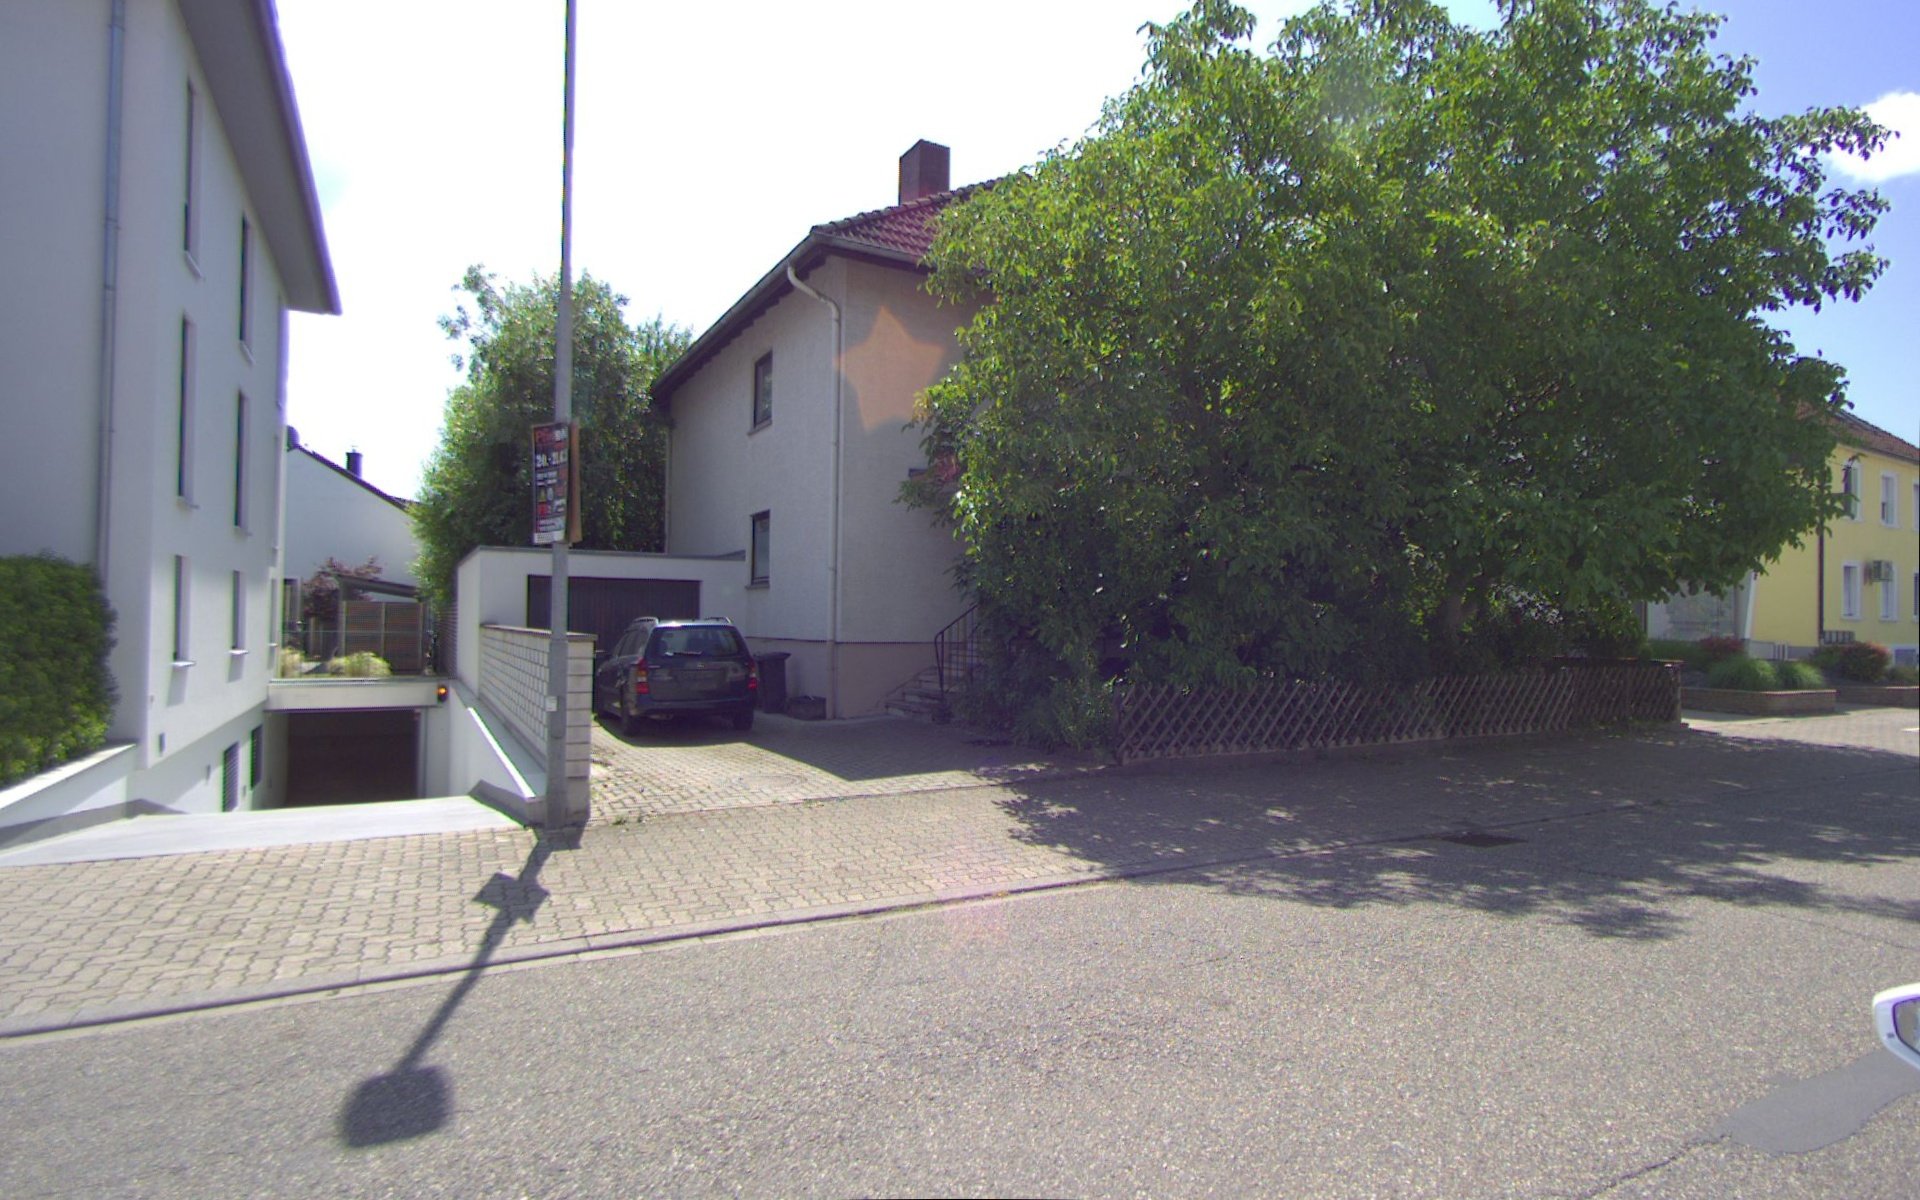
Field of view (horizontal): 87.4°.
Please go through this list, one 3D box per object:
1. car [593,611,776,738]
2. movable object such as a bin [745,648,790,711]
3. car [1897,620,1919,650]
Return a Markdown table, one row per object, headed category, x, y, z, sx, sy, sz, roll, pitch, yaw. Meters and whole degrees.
| category | x | y | z | sx | sy | sz | roll | pitch | yaw |
| --- | --- | --- | --- | --- | --- | --- | --- | --- | --- |
| car | -3.989 | 0.920 | 14.106 | 1.770 | 1.512 | 3.899 | 0 | -1 | -27 |
| movable object such as a bin | -3.022 | 1.236 | 15.753 | 0.522 | 0.912 | 0.624 | 2 | 1 | -28 |
| car | 52.608 | 2.023 | 53.155 | 4.171 | 1.508 | 1.748 | 4 | 3 | 4 |
